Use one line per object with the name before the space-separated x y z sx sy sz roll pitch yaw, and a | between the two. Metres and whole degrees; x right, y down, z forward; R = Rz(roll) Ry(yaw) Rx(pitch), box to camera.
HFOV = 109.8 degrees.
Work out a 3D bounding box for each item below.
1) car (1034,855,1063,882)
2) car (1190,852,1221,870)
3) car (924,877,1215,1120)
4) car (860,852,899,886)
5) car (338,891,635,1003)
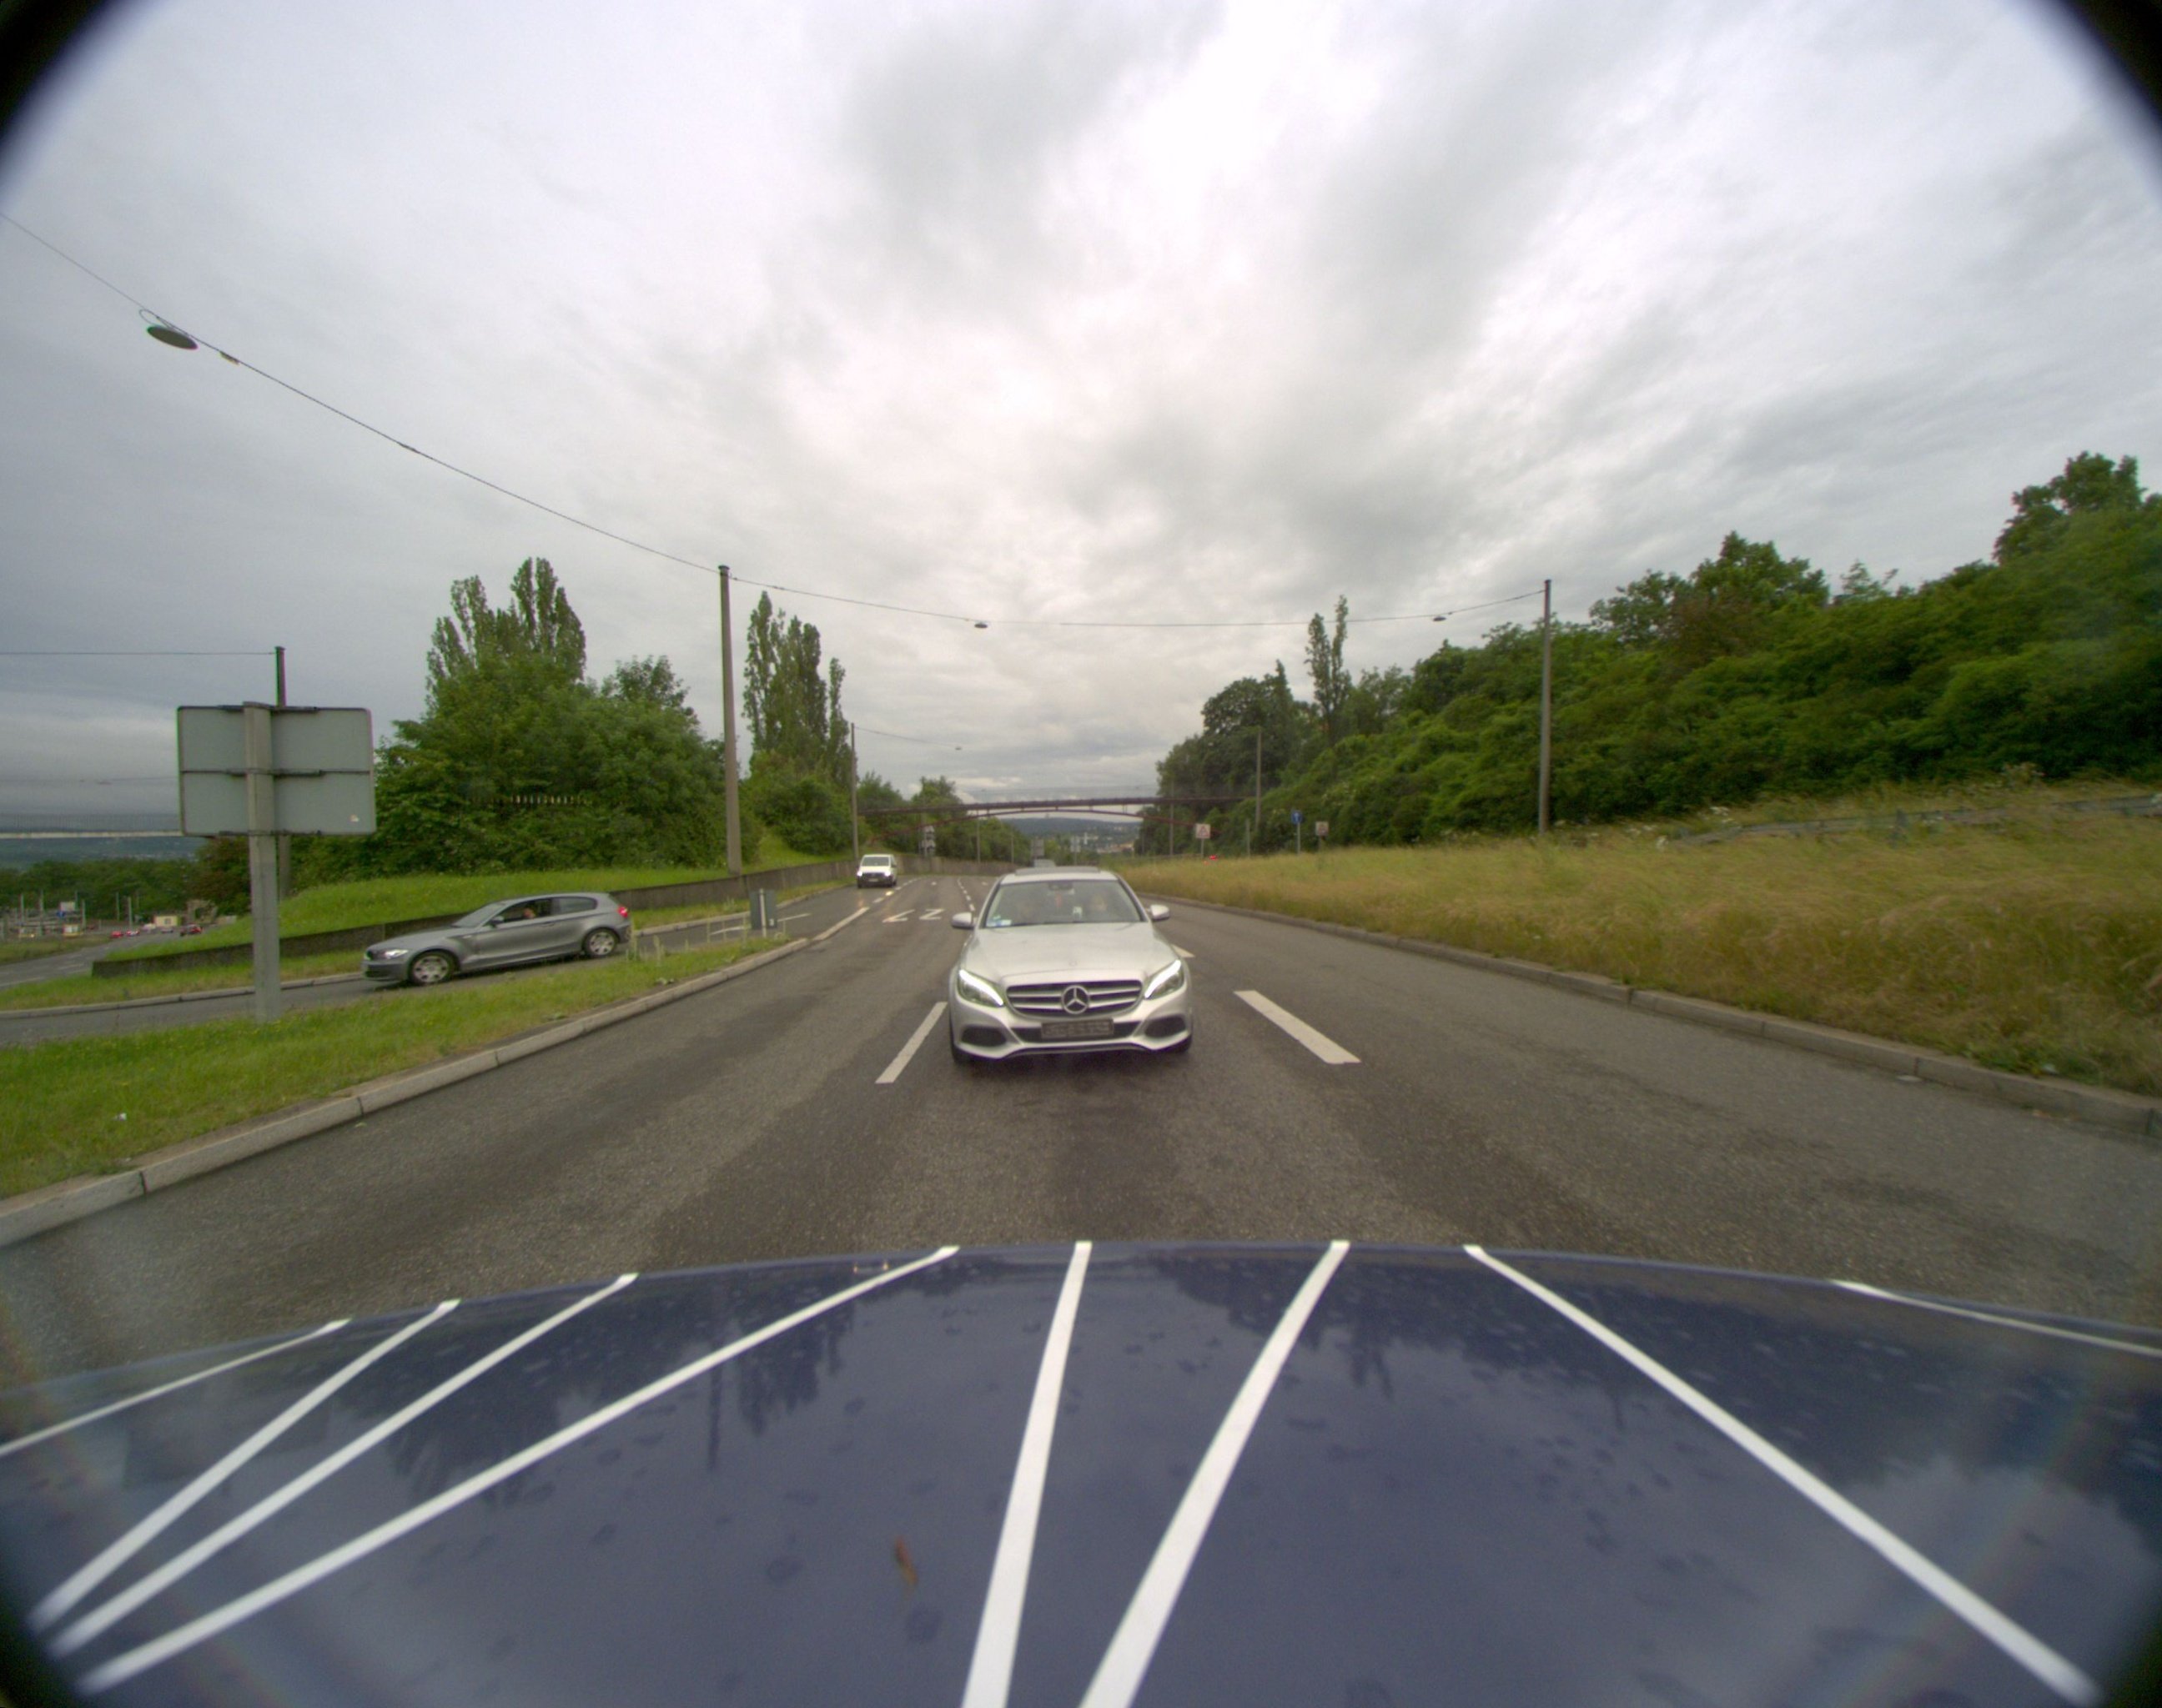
car | -2.044 0.912 47.266 1.646 1.495 3.778 -2 -1 -4
car | 11.135 0.637 68.342 1.999 1.445 4.284 -2 1 -1
car | -0.238 1.007 7.088 1.895 1.360 4.132 -2 1 -5
car | -11.601 0.812 43.971 2.001 1.837 4.817 0 1 -13
car | -11.170 1.635 14.568 1.681 1.412 4.088 -1 3 37
